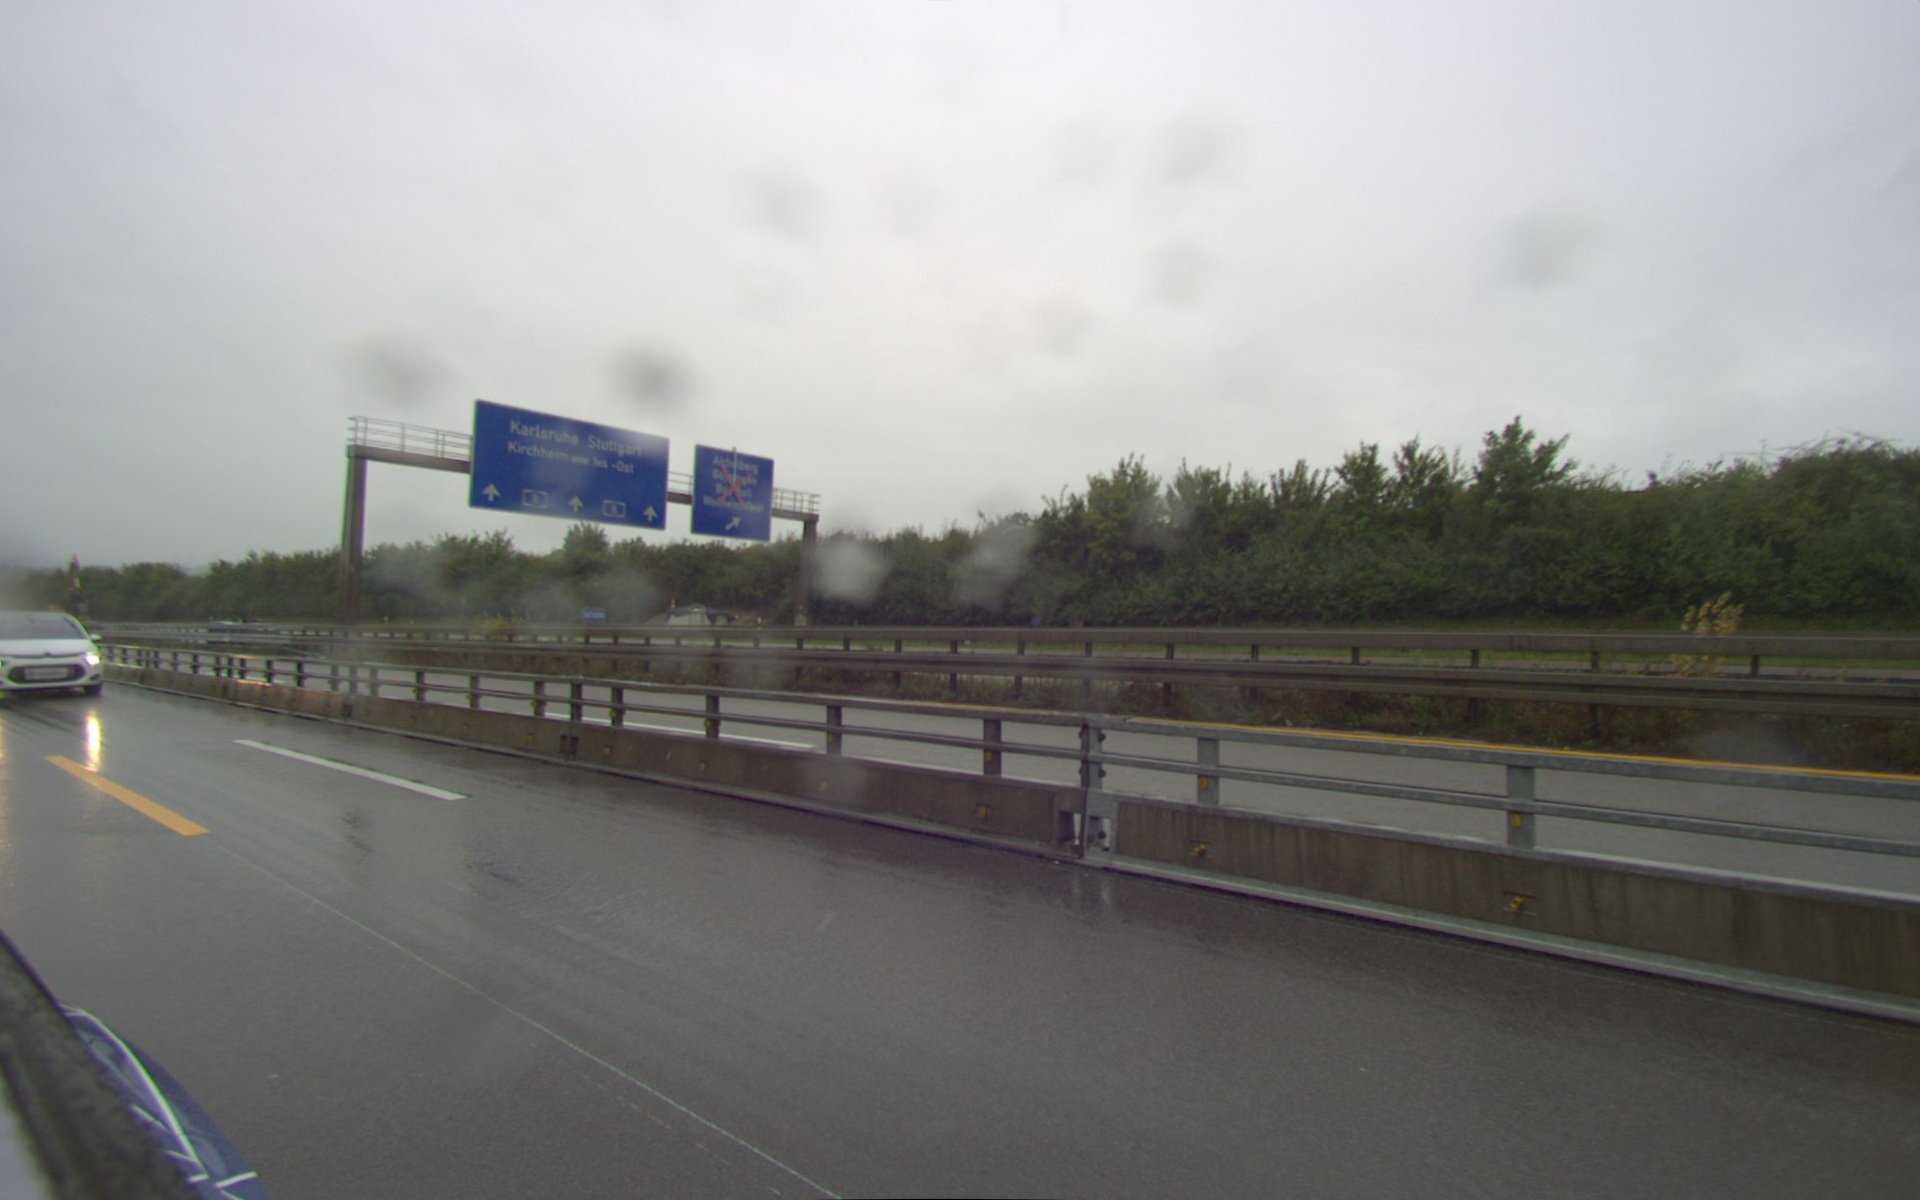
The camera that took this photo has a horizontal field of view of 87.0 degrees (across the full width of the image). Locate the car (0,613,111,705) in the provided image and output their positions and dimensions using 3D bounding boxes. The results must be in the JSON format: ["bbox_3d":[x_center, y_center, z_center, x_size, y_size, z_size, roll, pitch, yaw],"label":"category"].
[{"bbox_3d":[-18.190,1.114,19.663,4.306,1.608,1.953,-3,-2,41],"label":"car"}]

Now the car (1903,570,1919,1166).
[{"bbox_3d":[3.745,0.667,0.562,4.629,1.509,1.972,-1,0,42],"label":"car"}]

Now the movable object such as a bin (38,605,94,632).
[{"bbox_3d":[-102.201,2.089,115.655,6.321,2.819,3.729,-1,0,38],"label":"movable object such as a bin"}]

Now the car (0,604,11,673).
[{"bbox_3d":[-31.172,1.189,31.137,5.558,2.029,2.184,-1,0,40],"label":"car"}]
